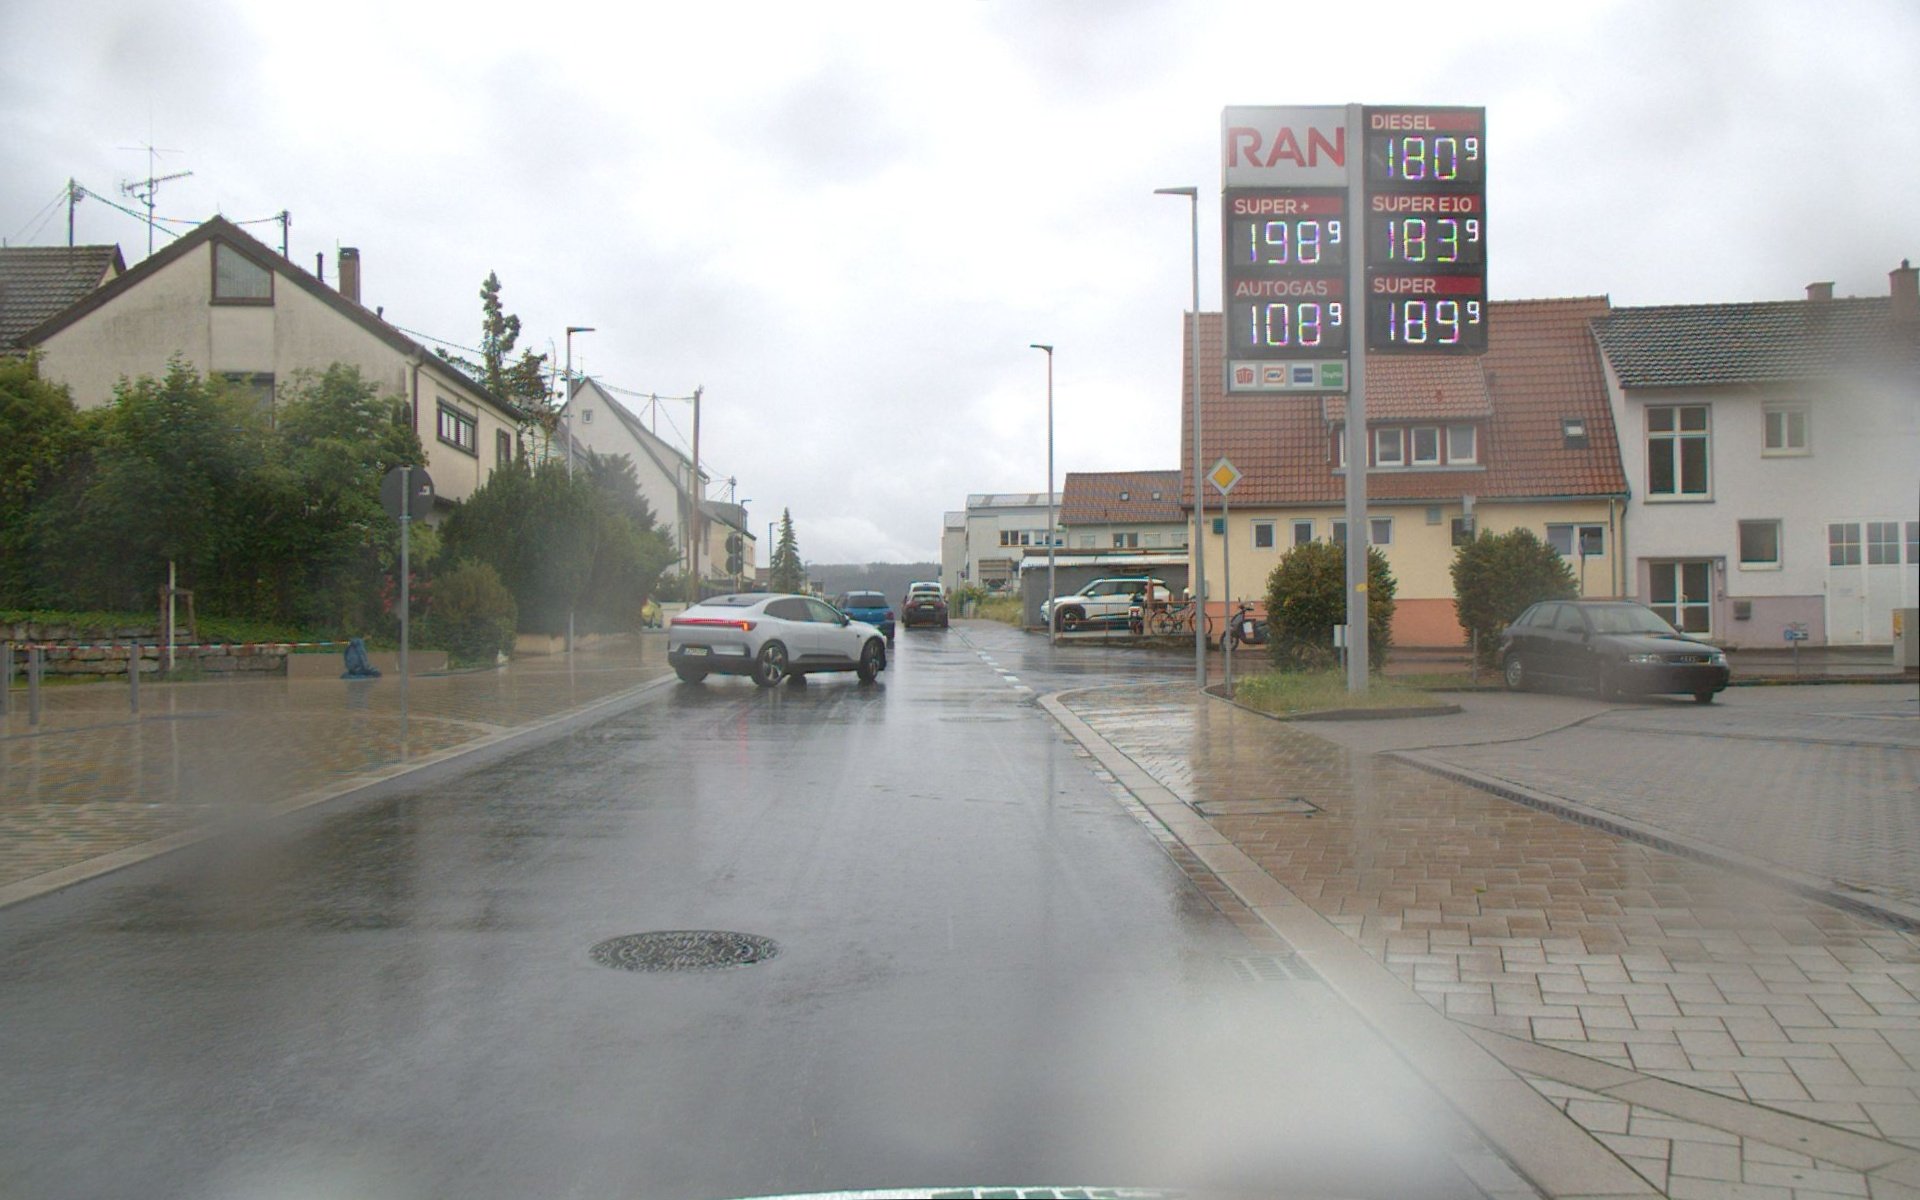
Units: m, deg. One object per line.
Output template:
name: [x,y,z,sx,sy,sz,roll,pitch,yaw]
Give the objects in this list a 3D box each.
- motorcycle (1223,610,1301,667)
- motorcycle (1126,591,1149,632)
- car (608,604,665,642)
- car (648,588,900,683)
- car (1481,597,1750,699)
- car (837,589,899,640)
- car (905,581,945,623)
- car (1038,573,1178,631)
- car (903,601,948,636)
motorcycle: [7.892,1.006,43.218,1.989,1.482,0.490,0,0,11]
motorcycle: [4.975,0.312,46.439,0.477,1.115,2.001,0,1,2]
car: [-13.244,0.942,67.819,1.743,1.493,3.456,0,-1,-1]
car: [-3.194,0.567,29.305,1.958,1.528,4.657,0,0,33]
car: [9.633,0.647,24.702,1.659,1.363,4.328,0,0,-11]
car: [-2.903,0.437,52.912,1.890,1.566,4.318,0,0,-3]
car: [-1.619,0.089,75.116,1.733,1.857,4.572,0,0,-2]
car: [4.652,0.068,52.378,4.133,1.638,1.859,-3,0,-4]
car: [-1.457,0.739,68.320,1.733,1.359,4.318,0,0,-2]
